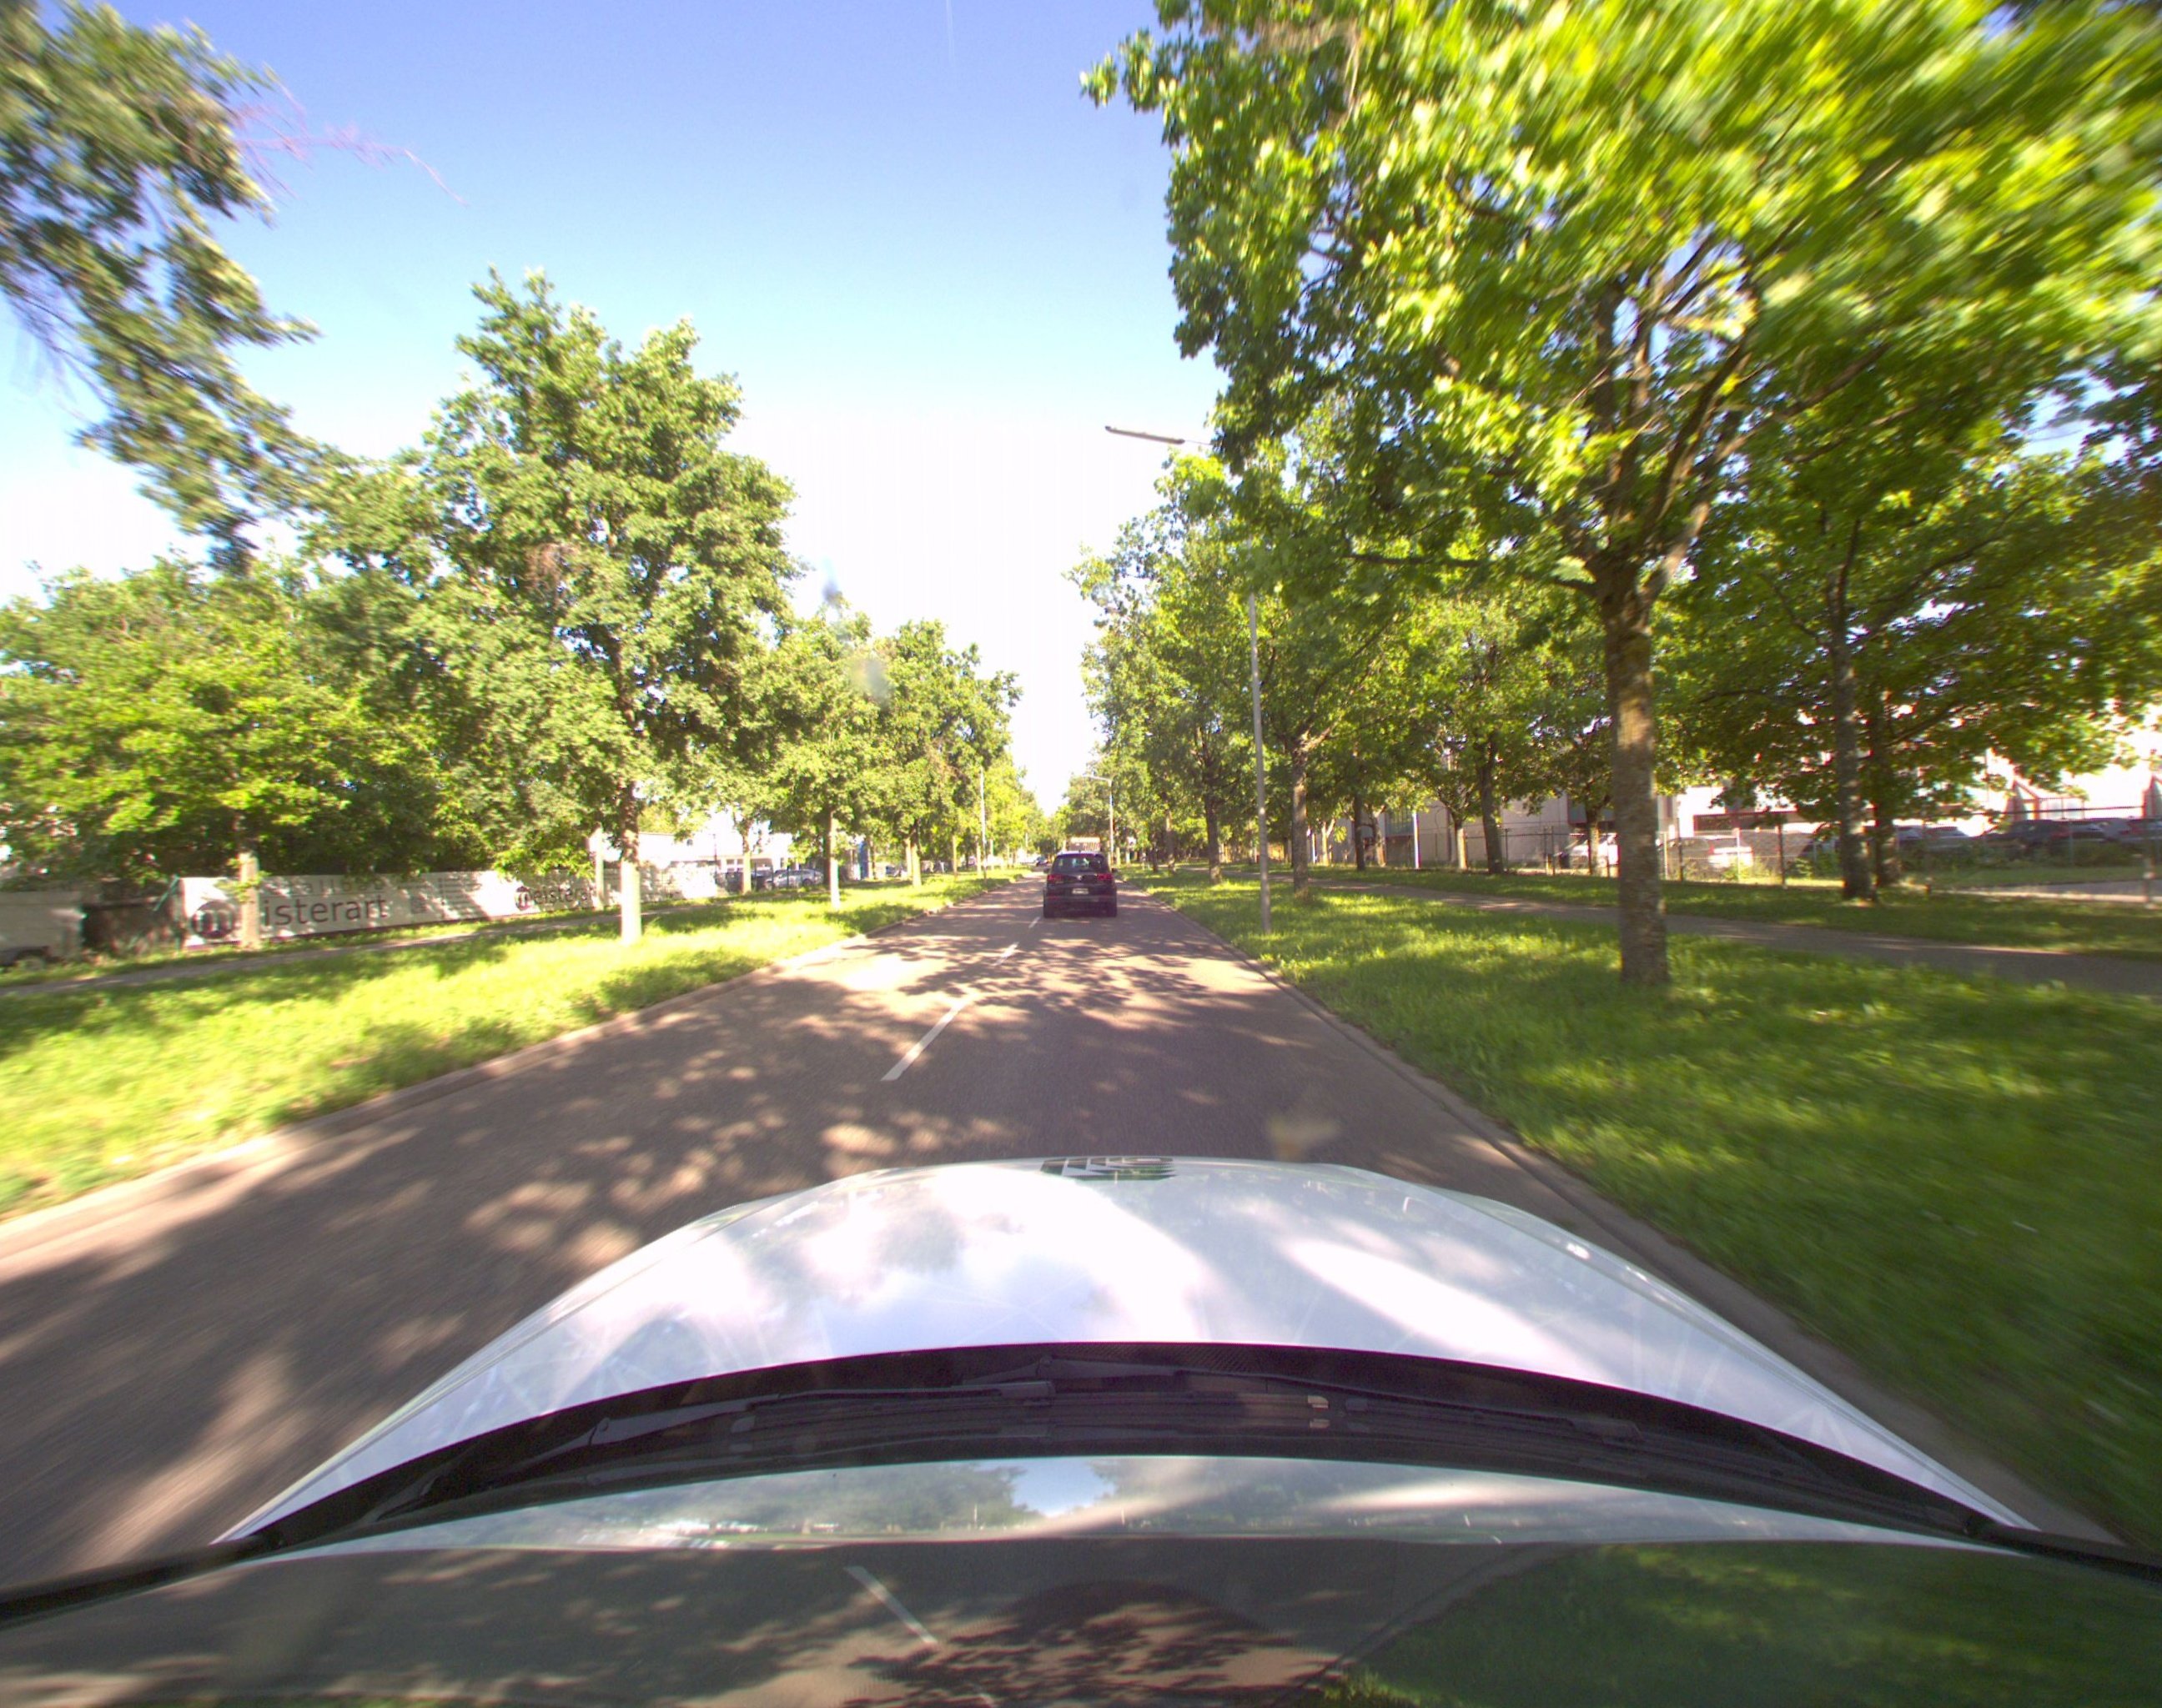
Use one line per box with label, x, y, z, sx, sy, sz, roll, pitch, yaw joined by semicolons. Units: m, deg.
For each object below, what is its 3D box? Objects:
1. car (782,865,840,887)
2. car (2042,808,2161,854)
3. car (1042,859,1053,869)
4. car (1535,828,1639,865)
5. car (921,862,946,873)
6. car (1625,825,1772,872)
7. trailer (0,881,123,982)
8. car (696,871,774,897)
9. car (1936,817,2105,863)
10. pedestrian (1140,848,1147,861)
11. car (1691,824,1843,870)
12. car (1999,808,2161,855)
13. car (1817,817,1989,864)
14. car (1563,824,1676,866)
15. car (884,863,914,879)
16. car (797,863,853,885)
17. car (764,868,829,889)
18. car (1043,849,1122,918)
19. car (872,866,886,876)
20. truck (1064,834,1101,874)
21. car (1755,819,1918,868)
car;-21.613;1.748;65.328;3.974;1.746;1.861;0;-1;0
car;41.249;-0.869;31.790;1.730;1.673;4.973;0;0;3
car;-5.860;1.740;141.338;1.763;1.672;4.195;-3;0;-2
car;29.645;-0.426;47.786;4.940;1.884;1.996;-2;0;-6
car;-24.079;2.203;132.902;3.988;1.802;1.993;0;-1;-11
car;23.674;-0.177;31.507;1.988;1.606;4.712;-2;-1;-2
trailer;-23.342;1.676;17.030;1.747;2.013;3.967;-2;0;3
car;-21.953;1.881;51.769;3.974;1.518;2.198;0;-1;0
car;36.417;-0.502;31.765;1.686;1.656;4.462;0;-1;5
pedestrian;8.050;0.089;105.394;0.608;1.631;0.716;-4;0;-13
car;26.221;-0.254;31.376;1.988;1.559;4.452;-2;0;-2
car;39.002;-0.804;31.601;1.693;1.673;4.726;0;-1;5
car;31.736;-0.478;31.657;1.990;1.673;4.448;0;-1;-5
car;29.534;-0.490;44.711;5.055;1.959;1.891;-3;0;-6
car;-18.872;1.746;84.413;2.548;1.470;1.431;-2;0;14
car;-21.424;1.679;68.235;3.973;1.742;2.000;0;-1;1
car;-21.700;1.856;62.213;4.297;1.518;1.861;0;-1;0
car;-0.042;0.724;21.507;1.779;1.633;3.994;0;-1;-4
car;-35.472;2.960;142.861;1.993;1.567;4.869;0;-1;-9
truck;0.054;0.035;72.096;2.508;3.243;8.138;-2;0;-5
car;28.727;-0.365;31.199;1.988;1.673;4.452;-2;0;-2
